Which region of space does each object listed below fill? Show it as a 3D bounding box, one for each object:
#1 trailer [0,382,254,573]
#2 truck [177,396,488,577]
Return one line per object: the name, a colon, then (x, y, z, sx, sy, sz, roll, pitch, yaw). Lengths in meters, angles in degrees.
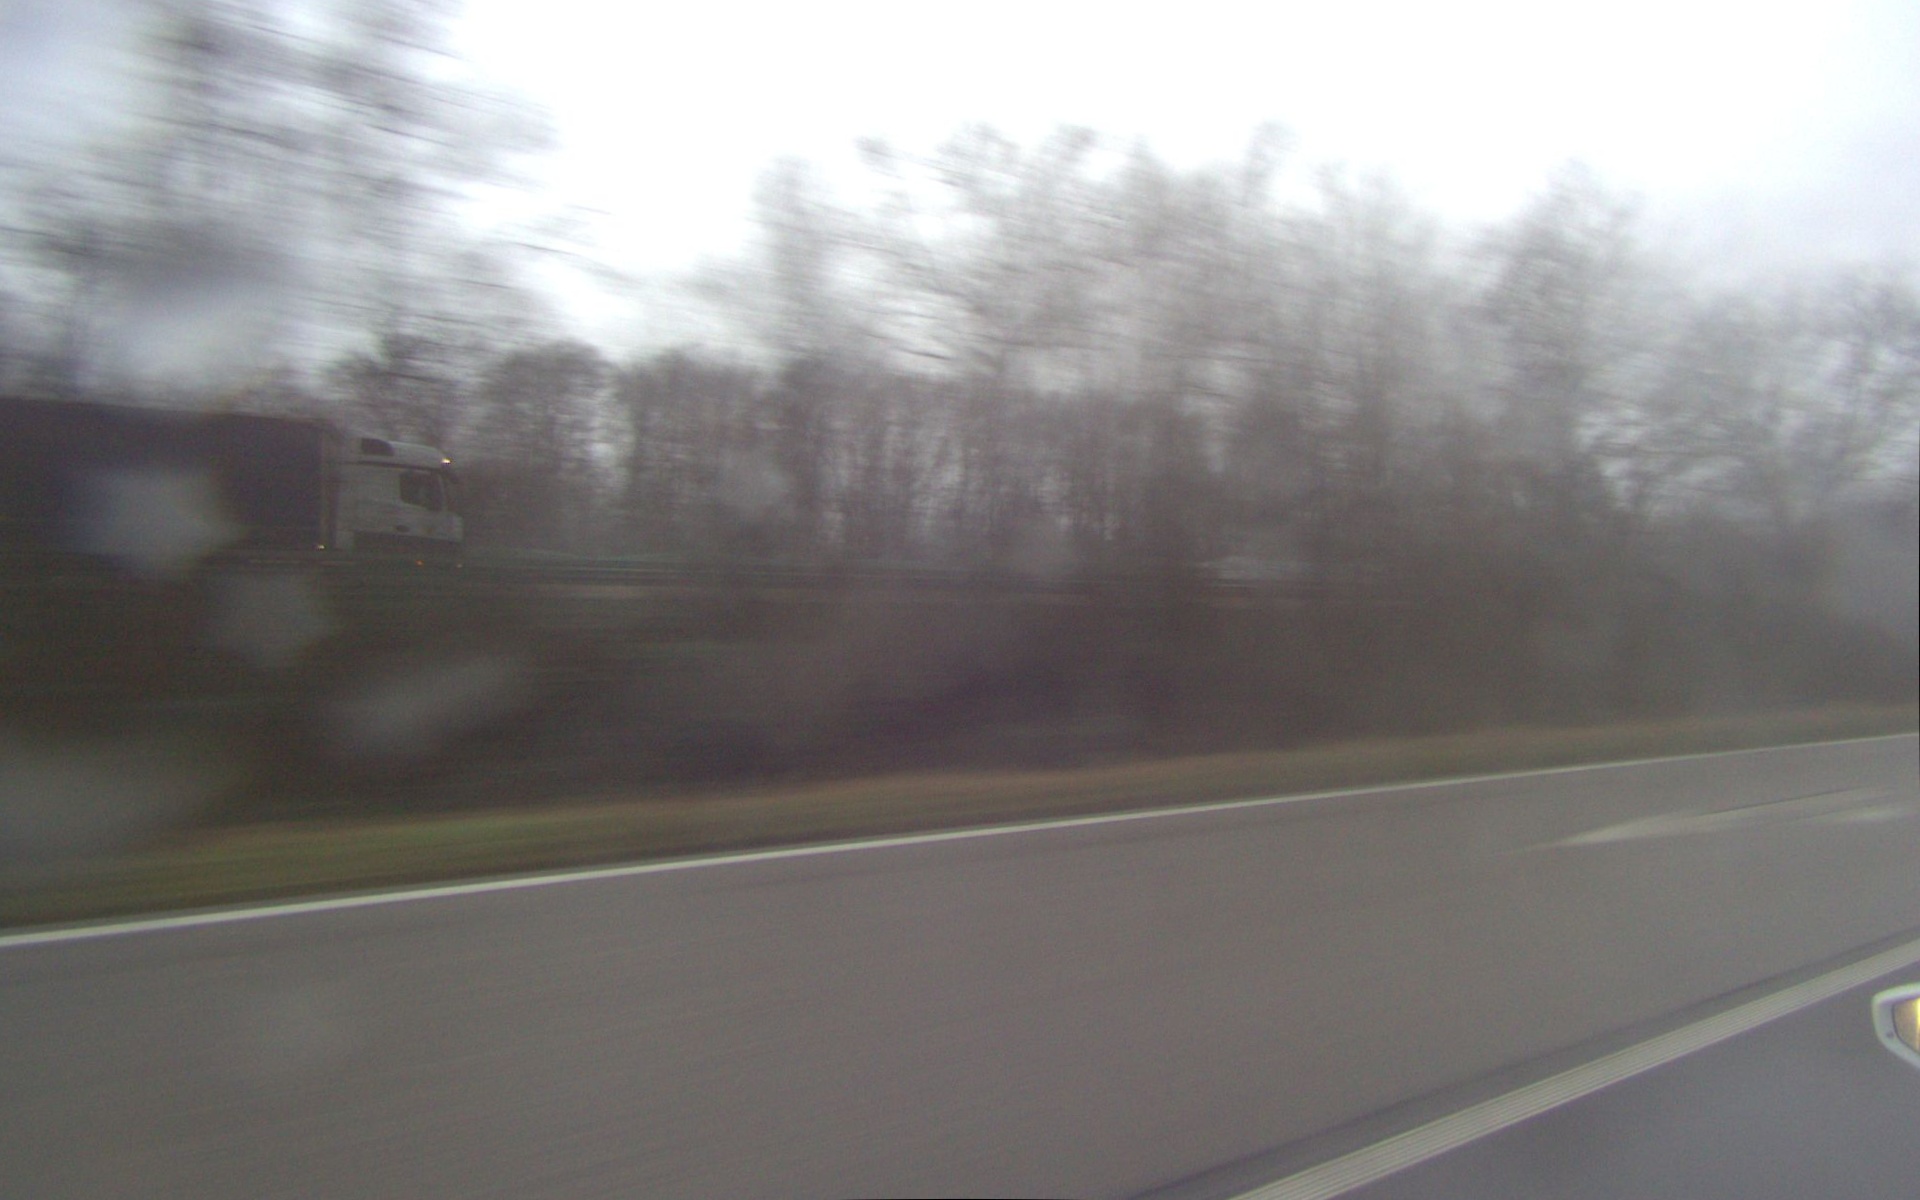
trailer: (-21.659, -2.534, 20.698, 11.235, 3.682, 2.989, 0, -1, -26)
truck: (-14.663, -2.497, 24.133, 5.986, 3.680, 2.983, 0, -1, -26)
